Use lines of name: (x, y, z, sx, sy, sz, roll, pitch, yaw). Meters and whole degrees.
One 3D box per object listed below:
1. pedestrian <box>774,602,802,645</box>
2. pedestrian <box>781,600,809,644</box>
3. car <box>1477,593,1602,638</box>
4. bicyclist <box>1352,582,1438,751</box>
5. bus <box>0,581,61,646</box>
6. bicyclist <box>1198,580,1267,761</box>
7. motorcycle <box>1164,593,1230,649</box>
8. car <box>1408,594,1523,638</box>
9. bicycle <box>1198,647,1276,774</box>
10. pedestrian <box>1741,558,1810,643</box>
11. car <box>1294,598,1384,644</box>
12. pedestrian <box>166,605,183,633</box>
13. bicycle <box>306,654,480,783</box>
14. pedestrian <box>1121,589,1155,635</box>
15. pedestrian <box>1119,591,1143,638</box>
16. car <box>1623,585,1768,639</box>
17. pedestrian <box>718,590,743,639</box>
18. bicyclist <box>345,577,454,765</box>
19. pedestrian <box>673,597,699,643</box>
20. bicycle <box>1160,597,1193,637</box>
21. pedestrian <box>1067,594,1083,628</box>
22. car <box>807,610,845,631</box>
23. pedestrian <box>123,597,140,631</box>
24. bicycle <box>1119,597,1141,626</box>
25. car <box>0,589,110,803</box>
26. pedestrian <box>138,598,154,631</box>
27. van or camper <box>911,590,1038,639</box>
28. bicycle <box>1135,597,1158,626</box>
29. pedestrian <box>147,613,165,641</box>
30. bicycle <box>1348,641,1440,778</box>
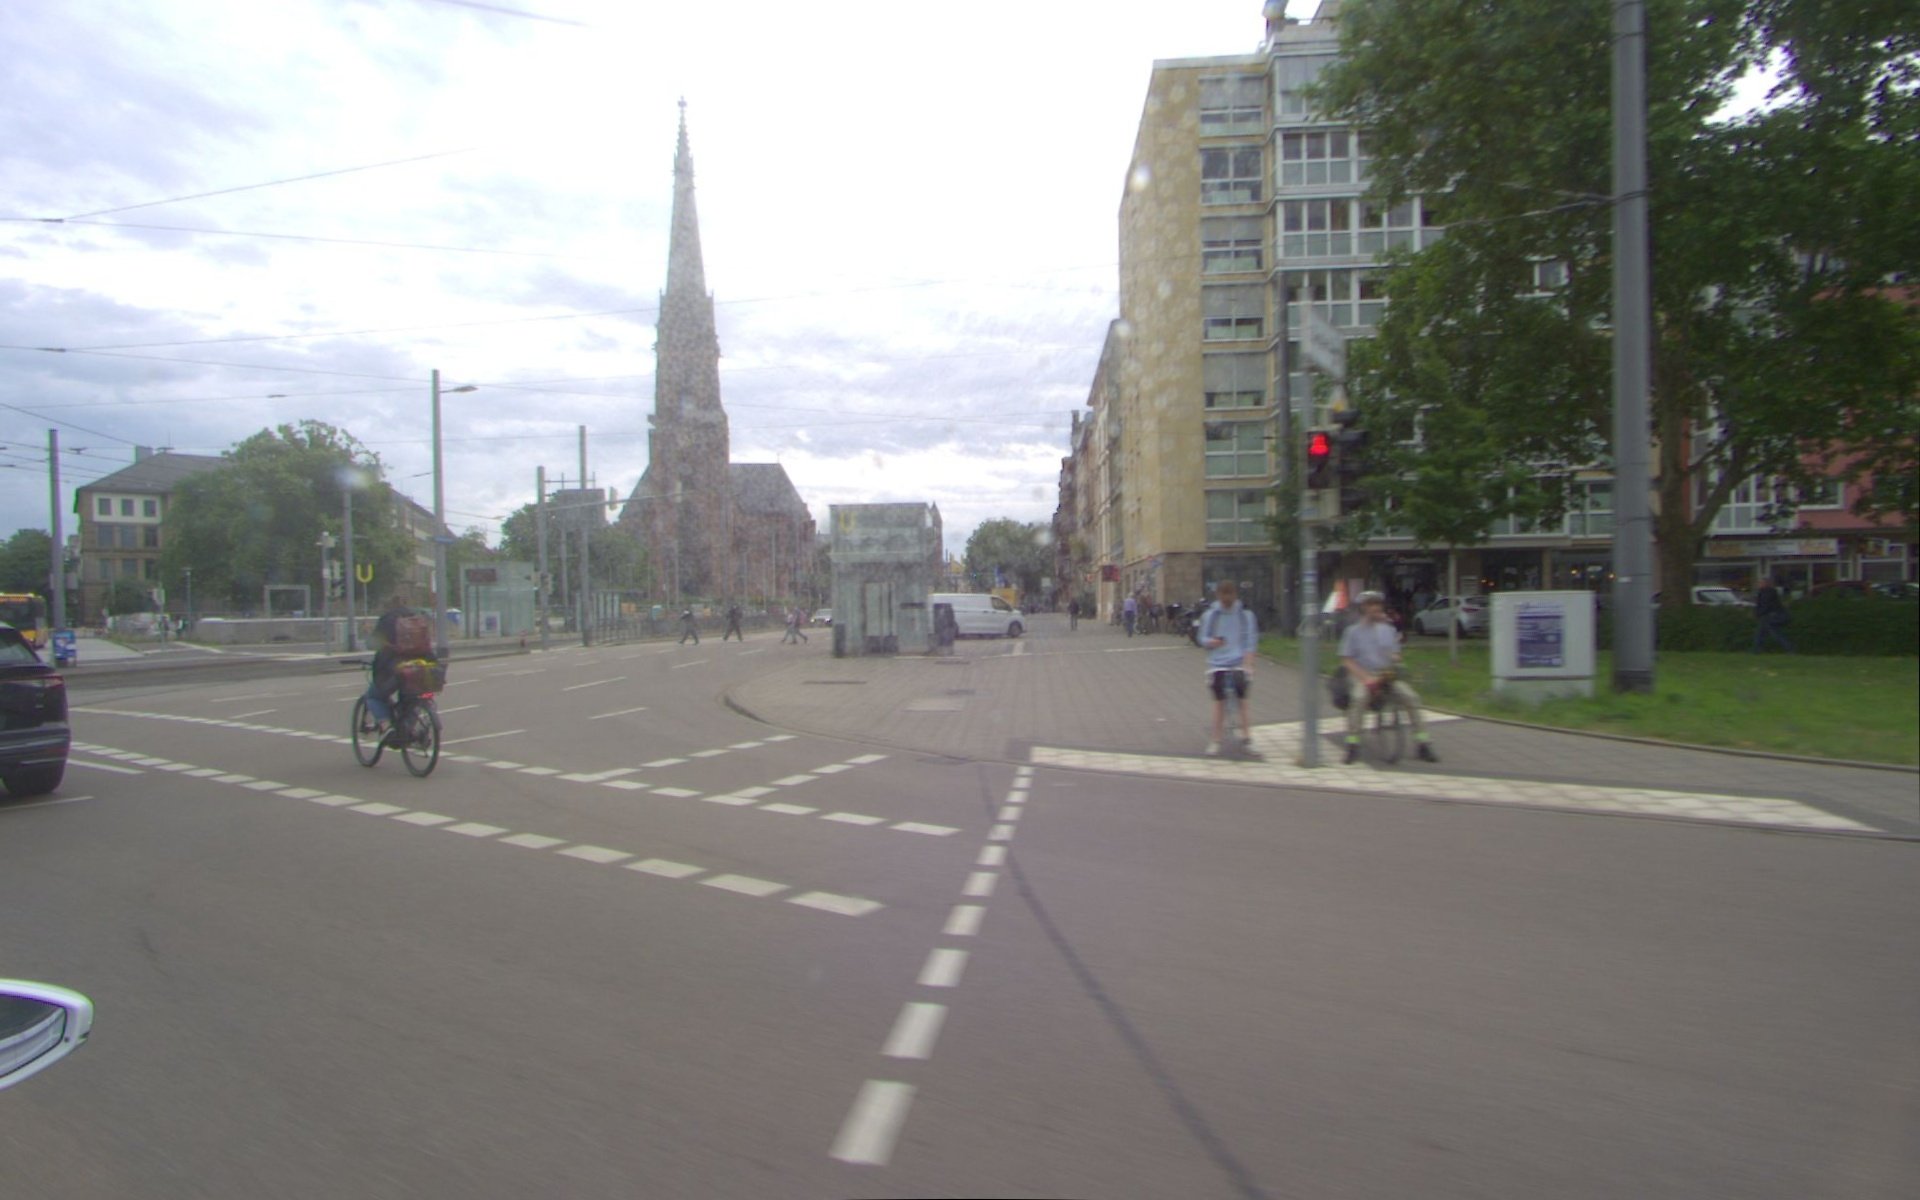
pedestrian: (-6.638, 0.907, 38.689, 0.935, 1.633, 0.767, -1, 1, -18)
pedestrian: (-6.257, 0.833, 37.976, 0.881, 1.623, 0.783, -1, 1, -18)
car: (20.643, 0.515, 35.856, 1.961, 1.461, 3.998, -1, 1, -4)
bicyclist: (4.229, 0.618, 9.778, 0.660, 1.543, 0.884, -1, 3, 17)
bus: (-52.985, 0.769, 56.440, 2.992, 3.311, 12.931, -1, 0, -40)
bicyclist: (2.772, 0.693, 10.241, 0.575, 1.775, 0.734, -2, 2, 10)
motorcycle: (6.467, 0.548, 27.425, 1.027, 1.384, 2.291, -5, 1, -4)
car: (17.987, 0.547, 35.854, 1.961, 1.483, 3.999, -1, 0, -2)
bicycle: (2.798, 1.078, 10.252, 0.569, 1.012, 1.990, -1, 2, 10)
pedestrian: (18.101, 0.012, 22.248, 0.881, 1.844, 0.865, 0, 1, 13)
car: (13.267, 0.692, 35.276, 1.806, 1.462, 4.165, -1, 1, 4)
pedestrian: (-53.042, 1.295, 67.601, 0.816, 1.878, 1.013, -2, 1, -37)
bicycle: (-5.546, 1.097, 9.739, 2.097, 1.069, 0.623, 0, 1, 35)
pedestrian: (7.007, 0.460, 39.436, 1.030, 1.781, 0.786, -2, 2, -17)
pedestrian: (6.500, 0.543, 38.148, 0.797, 1.761, 0.906, -1, 1, 2)
car: (25.516, 0.407, 34.941, 1.961, 1.746, 3.999, -1, 0, -4)
pedestrian: (-9.260, 0.578, 40.401, 0.888, 1.937, 0.783, -1, 1, -18)
bicyclist: (-5.382, 0.649, 9.621, 0.795, 1.713, 0.613, 0, 1, 35)
pedestrian: (-10.233, 0.734, 37.395, 0.888, 1.665, 0.783, -1, 1, -18)
bicycle: (8.054, 0.614, 37.350, 0.886, 1.396, 2.783, -1, 0, 6)
pedestrian: (5.960, 0.567, 51.885, 0.605, 1.738, 0.823, -1, 2, -6)
car: (-10.692, 1.631, 80.153, 1.961, 1.506, 4.444, -1, 0, 7)
pedestrian: (-107.309, 1.794, 129.642, 1.329, 4.310, 1.381, 0, 1, 37)
bicycle: (7.326, 0.482, 43.216, 0.657, 1.184, 2.039, -1, 1, 2)
car: (-9.597, 0.789, 8.738, 4.447, 1.680, 1.900, -1, 0, 30)
pedestrian: (-106.430, 1.911, 130.889, 1.329, 4.310, 1.302, 0, 1, 37)
van or camper: (0.697, 0.606, 44.483, 5.395, 2.005, 2.158, -1, 0, -35)
bicycle: (8.007, 0.474, 43.158, 0.657, 1.184, 2.039, -1, 1, 2)
pedestrian: (-54.211, 1.804, 67.493, 0.816, 1.832, 1.014, -3, 1, -37)
bicycle: (4.227, 1.013, 9.862, 0.591, 1.012, 1.941, -1, 4, 16)
